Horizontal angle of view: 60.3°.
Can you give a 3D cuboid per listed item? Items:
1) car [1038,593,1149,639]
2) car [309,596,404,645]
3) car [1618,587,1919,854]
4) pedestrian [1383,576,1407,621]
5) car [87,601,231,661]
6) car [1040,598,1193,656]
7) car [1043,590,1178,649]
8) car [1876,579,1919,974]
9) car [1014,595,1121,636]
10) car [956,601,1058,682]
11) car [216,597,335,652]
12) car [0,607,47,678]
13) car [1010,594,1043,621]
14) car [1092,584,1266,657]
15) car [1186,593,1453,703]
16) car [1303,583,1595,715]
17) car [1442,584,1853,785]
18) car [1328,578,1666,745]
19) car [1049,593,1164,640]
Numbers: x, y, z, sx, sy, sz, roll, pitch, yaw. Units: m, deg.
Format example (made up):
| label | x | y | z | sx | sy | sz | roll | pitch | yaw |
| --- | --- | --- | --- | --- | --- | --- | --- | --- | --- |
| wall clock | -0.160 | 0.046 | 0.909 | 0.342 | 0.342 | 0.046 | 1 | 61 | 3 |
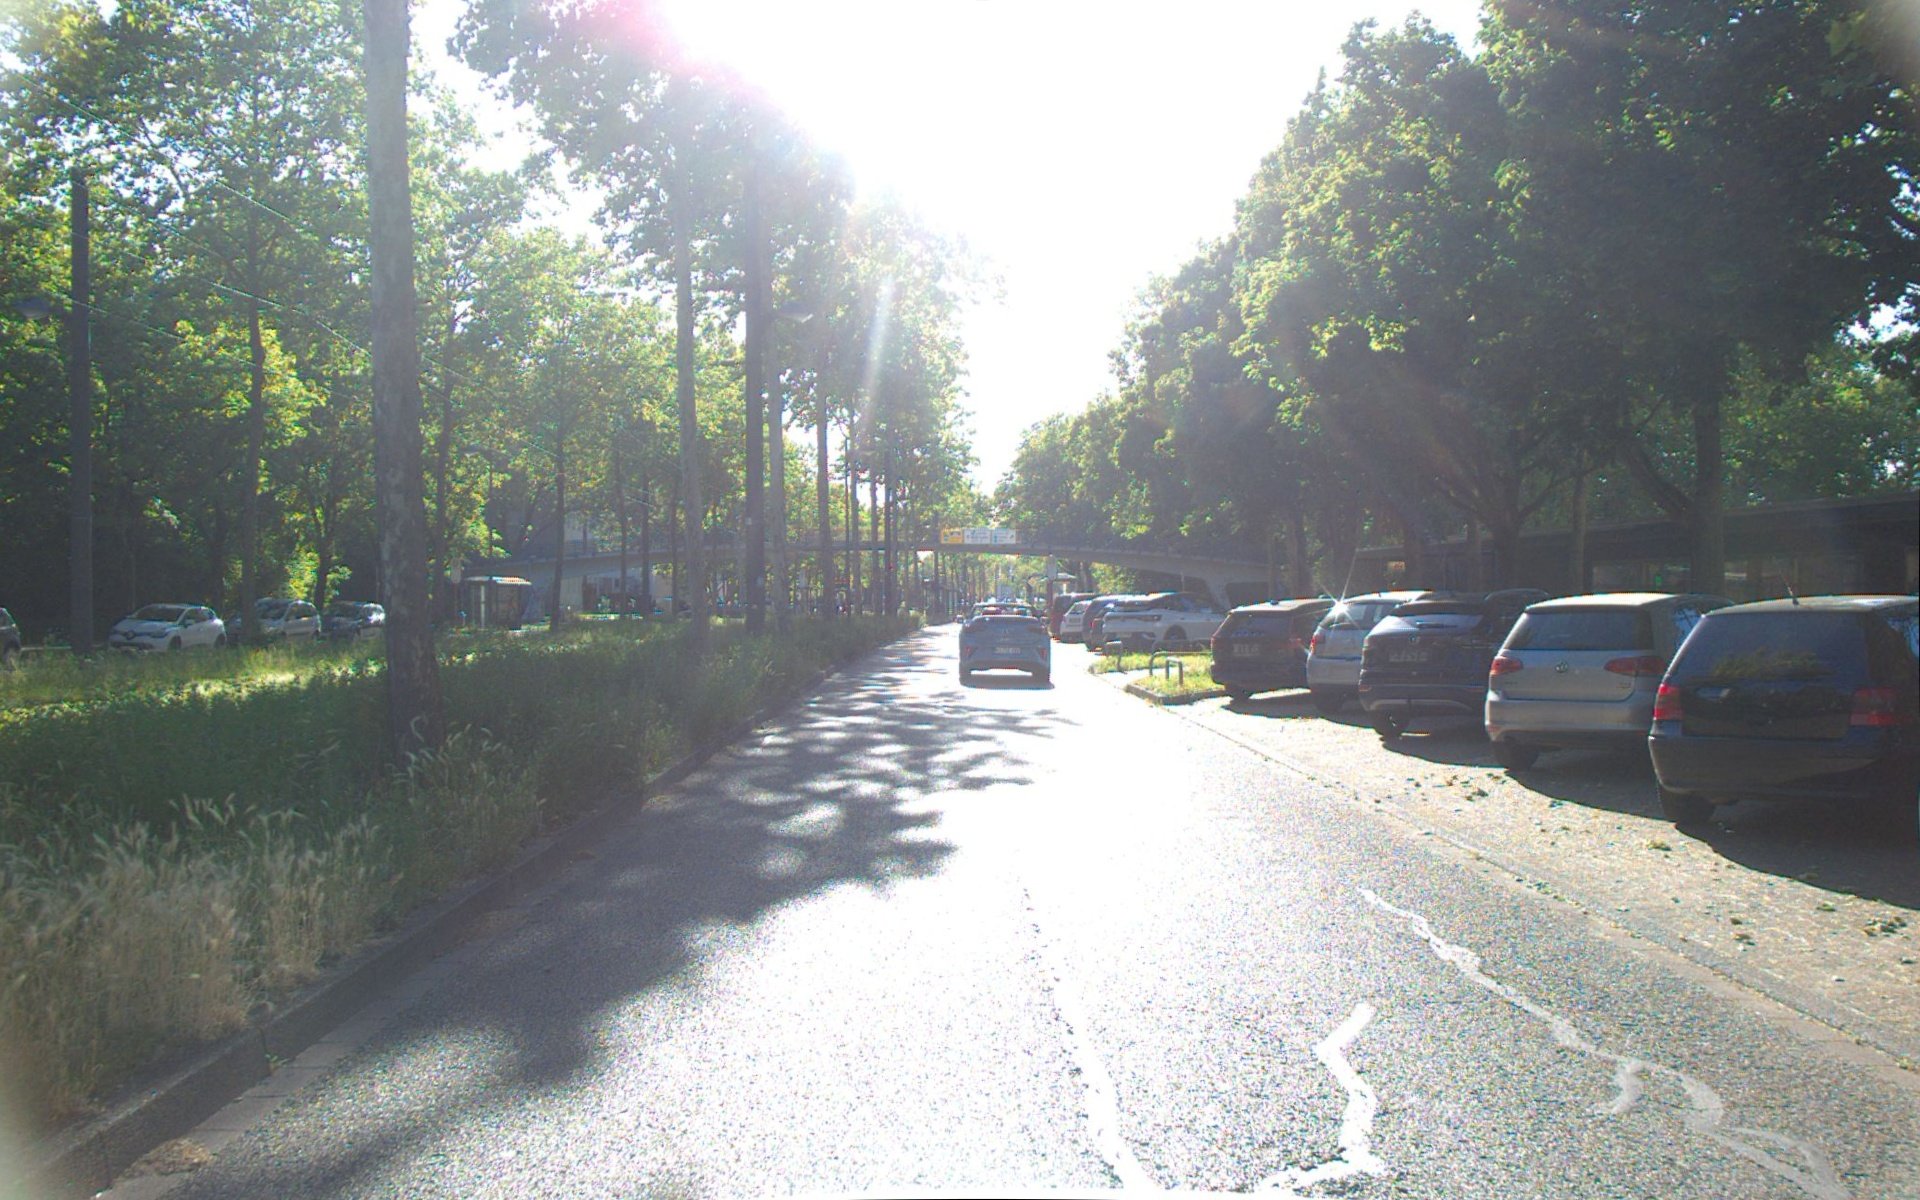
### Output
| label | x | y | z | sx | sy | sz | roll | pitch | yaw |
| --- | --- | --- | --- | --- | --- | --- | --- | --- | --- |
| car | 5.354 | 0.628 | 65.890 | 4.587 | 1.799 | 1.827 | 1 | 0 | -43 |
| car | -21.561 | 0.714 | 59.237 | 1.750 | 1.617 | 4.168 | 2 | 0 | 1 |
| car | 6.427 | 0.660 | 11.291 | 4.426 | 1.475 | 1.890 | -2 | -1 | -43 |
| pedestrian | 20.162 | -0.066 | 76.619 | 0.814 | 2.049 | 0.739 | 0 | 0 | -41 |
| car | -22.234 | 0.823 | 46.081 | 1.952 | 1.478 | 4.001 | 2 | 0 | 1 |
| car | 4.542 | 0.733 | 47.481 | 4.588 | 1.548 | 1.827 | -1 | 0 | -43 |
| car | 4.741 | 0.601 | 51.652 | 1.823 | 1.710 | 4.585 | -3 | -1 | 41 |
| car | 5.582 | 0.588 | 7.022 | 4.297 | 1.449 | 1.826 | -2 | 1 | -45 |
| car | 4.505 | 0.646 | 68.611 | 4.587 | 1.642 | 1.827 | 1 | 0 | -43 |
| car | 0.883 | 0.778 | 32.804 | 1.883 | 1.435 | 4.000 | 1 | 1 | 0 |
| car | -22.022 | 0.757 | 53.400 | 1.952 | 1.617 | 4.168 | 2 | 0 | 1 |
| car | -21.867 | 0.913 | 35.710 | 1.952 | 1.478 | 4.001 | 2 | 0 | 1 |
| car | 4.331 | 0.499 | 108.084 | 1.953 | 1.680 | 4.000 | 1 | 0 | 0 |
| car | 5.482 | 0.495 | 41.057 | 4.587 | 1.710 | 1.827 | 1 | 0 | -43 |
| car | 5.572 | 0.665 | 25.256 | 1.945 | 1.484 | 4.595 | -1 | 0 | 43 |
| car | 6.722 | 0.585 | 22.470 | 4.590 | 1.597 | 1.826 | -1 | 0 | -45 |
| car | 6.301 | 0.661 | 14.886 | 1.888 | 1.475 | 4.430 | -3 | -1 | 44 |
| car | 6.205 | 0.607 | 18.784 | 1.825 | 1.597 | 4.593 | -1 | 1 | 44 |
| car | 5.599 | 0.632 | 62.911 | 4.587 | 1.710 | 1.827 | 1 | 0 | -43 |
